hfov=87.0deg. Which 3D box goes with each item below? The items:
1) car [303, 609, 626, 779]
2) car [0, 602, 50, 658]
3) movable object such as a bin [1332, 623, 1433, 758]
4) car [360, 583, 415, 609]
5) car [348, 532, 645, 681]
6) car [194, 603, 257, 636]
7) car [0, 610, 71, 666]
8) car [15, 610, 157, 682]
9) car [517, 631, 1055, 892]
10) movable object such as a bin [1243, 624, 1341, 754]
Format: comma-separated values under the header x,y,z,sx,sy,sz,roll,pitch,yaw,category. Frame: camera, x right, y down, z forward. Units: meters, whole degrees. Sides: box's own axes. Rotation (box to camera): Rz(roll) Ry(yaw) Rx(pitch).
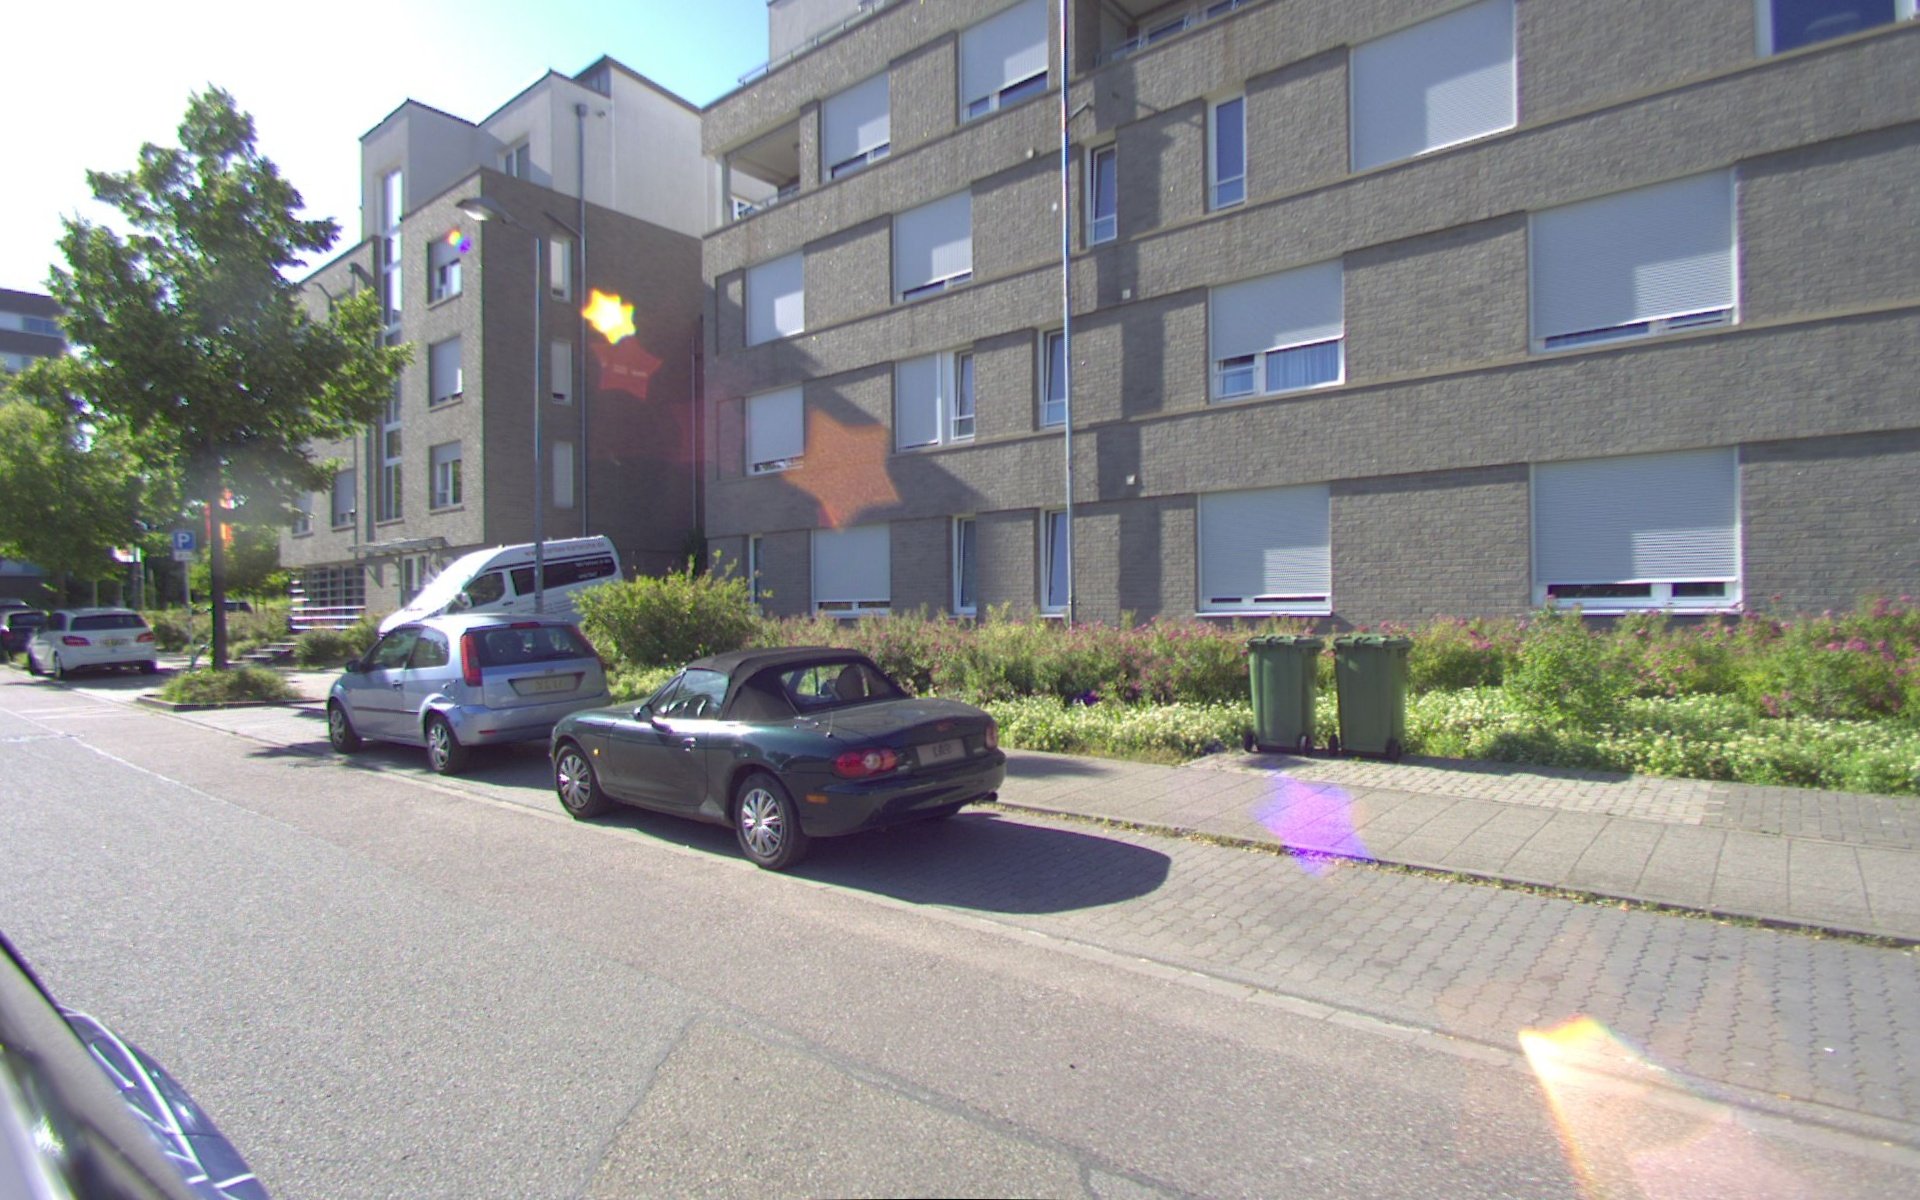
x,y,z,sx,sy,sz,roll,pitch,yaw,category
-5.321,0.848,10.678,3.870,1.476,1.595,-1,-1,39,car
-31.333,0.960,33.034,4.337,1.631,1.867,0,4,42,car
3.620,0.751,8.668,0.636,1.091,0.601,-2,-2,39,movable object such as a bin
-37.130,-0.263,65.635,4.127,1.630,1.711,1,1,39,car
-9.824,0.001,21.995,1.918,2.399,5.401,-1,7,36,car
-42.992,1.122,59.203,4.599,1.792,1.973,1,0,41,car
-27.139,1.074,29.145,3.783,1.515,1.564,-1,-1,37,car
-20.489,1.025,23.664,4.279,1.544,1.644,-1,-1,37,car
-1.390,0.885,7.042,3.873,1.226,1.582,-1,1,41,car
2.978,0.773,9.081,0.636,1.099,0.601,-2,-2,39,movable object such as a bin
